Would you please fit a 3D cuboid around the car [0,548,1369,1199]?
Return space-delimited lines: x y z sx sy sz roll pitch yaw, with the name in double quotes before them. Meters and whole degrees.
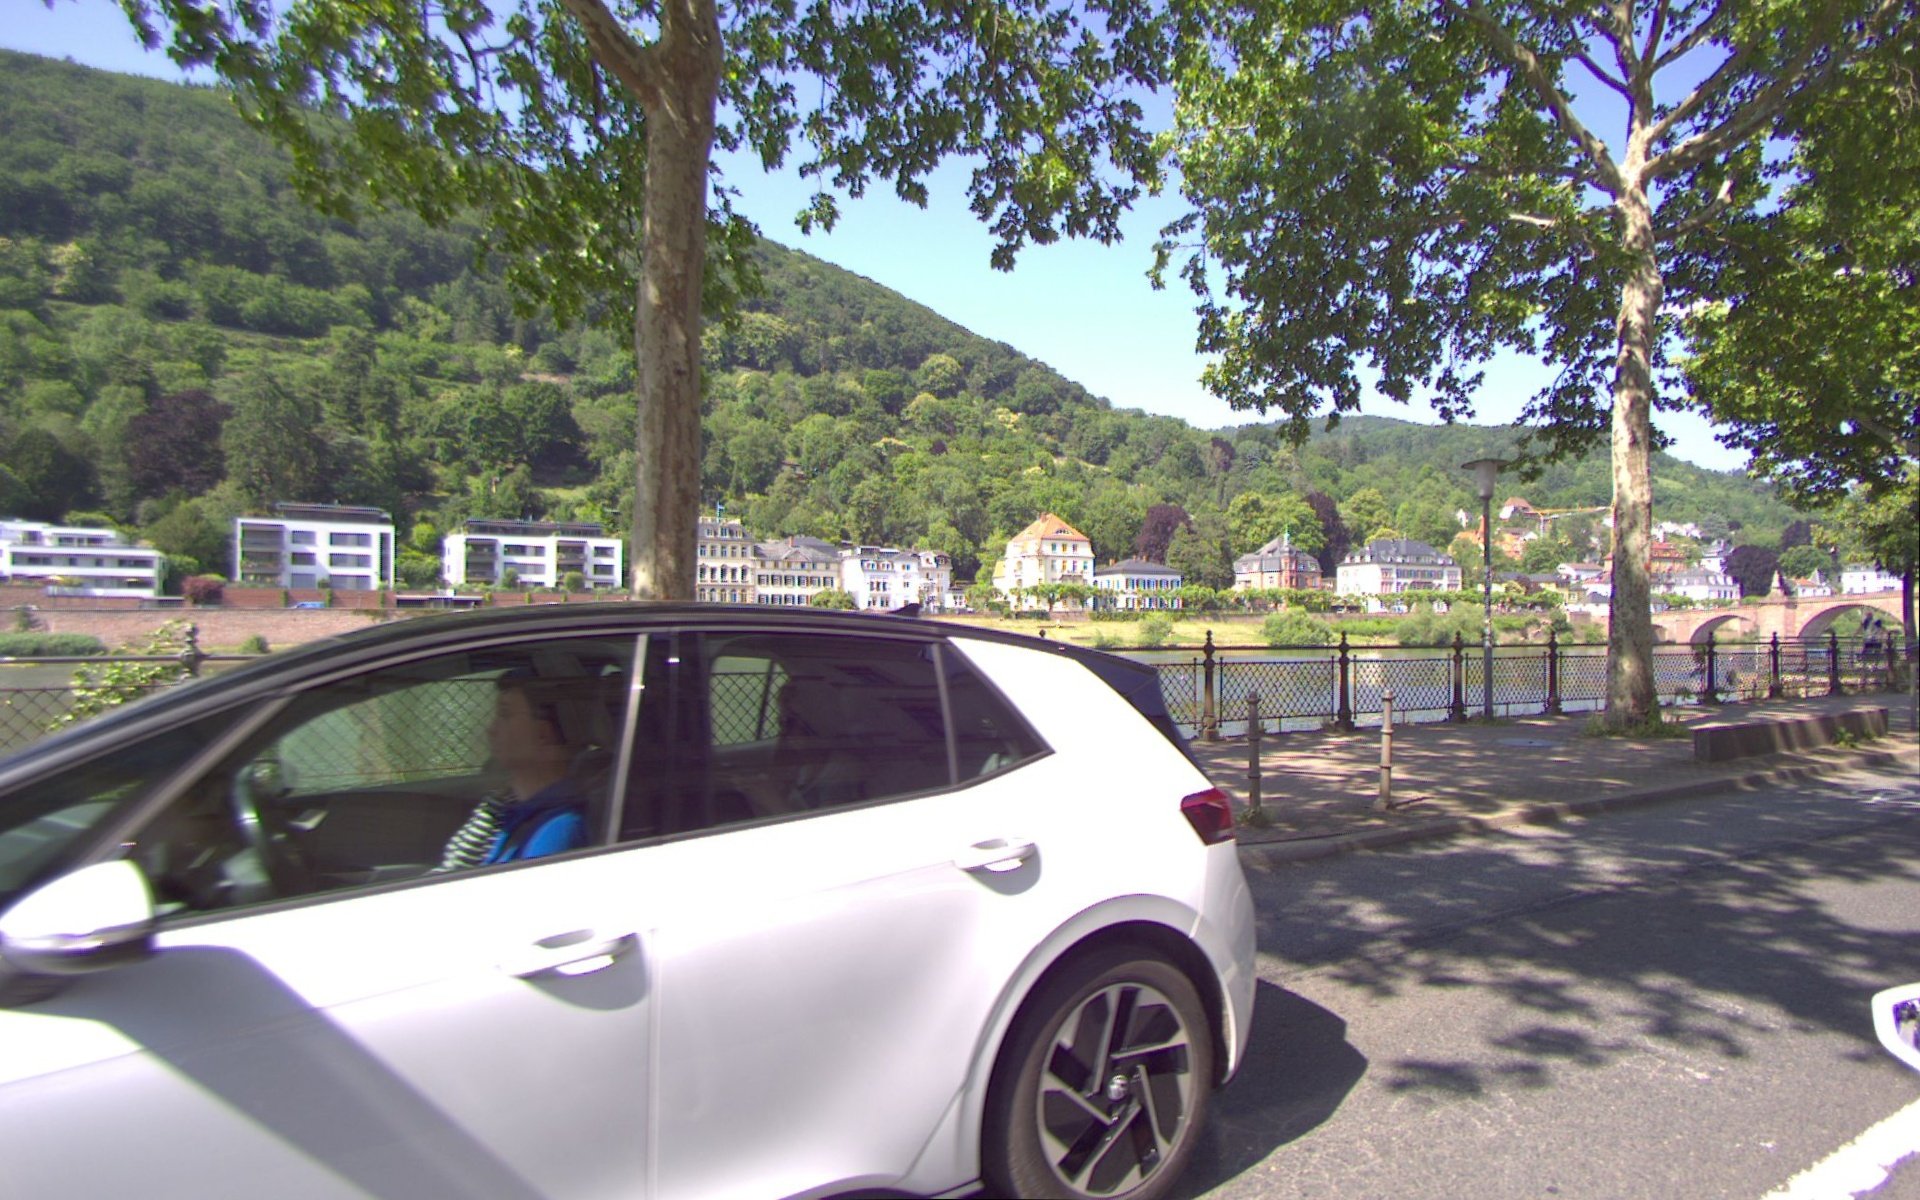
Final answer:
"car" -1.172 0.747 2.412 4.354 1.538 1.727 1 -3 -31

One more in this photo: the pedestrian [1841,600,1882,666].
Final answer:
"pedestrian" 27.465 0.992 30.604 0.876 1.970 0.690 1 -2 -31

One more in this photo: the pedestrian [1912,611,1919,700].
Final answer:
"pedestrian" 17.768 1.002 18.069 0.688 1.607 0.758 1 -2 -31
